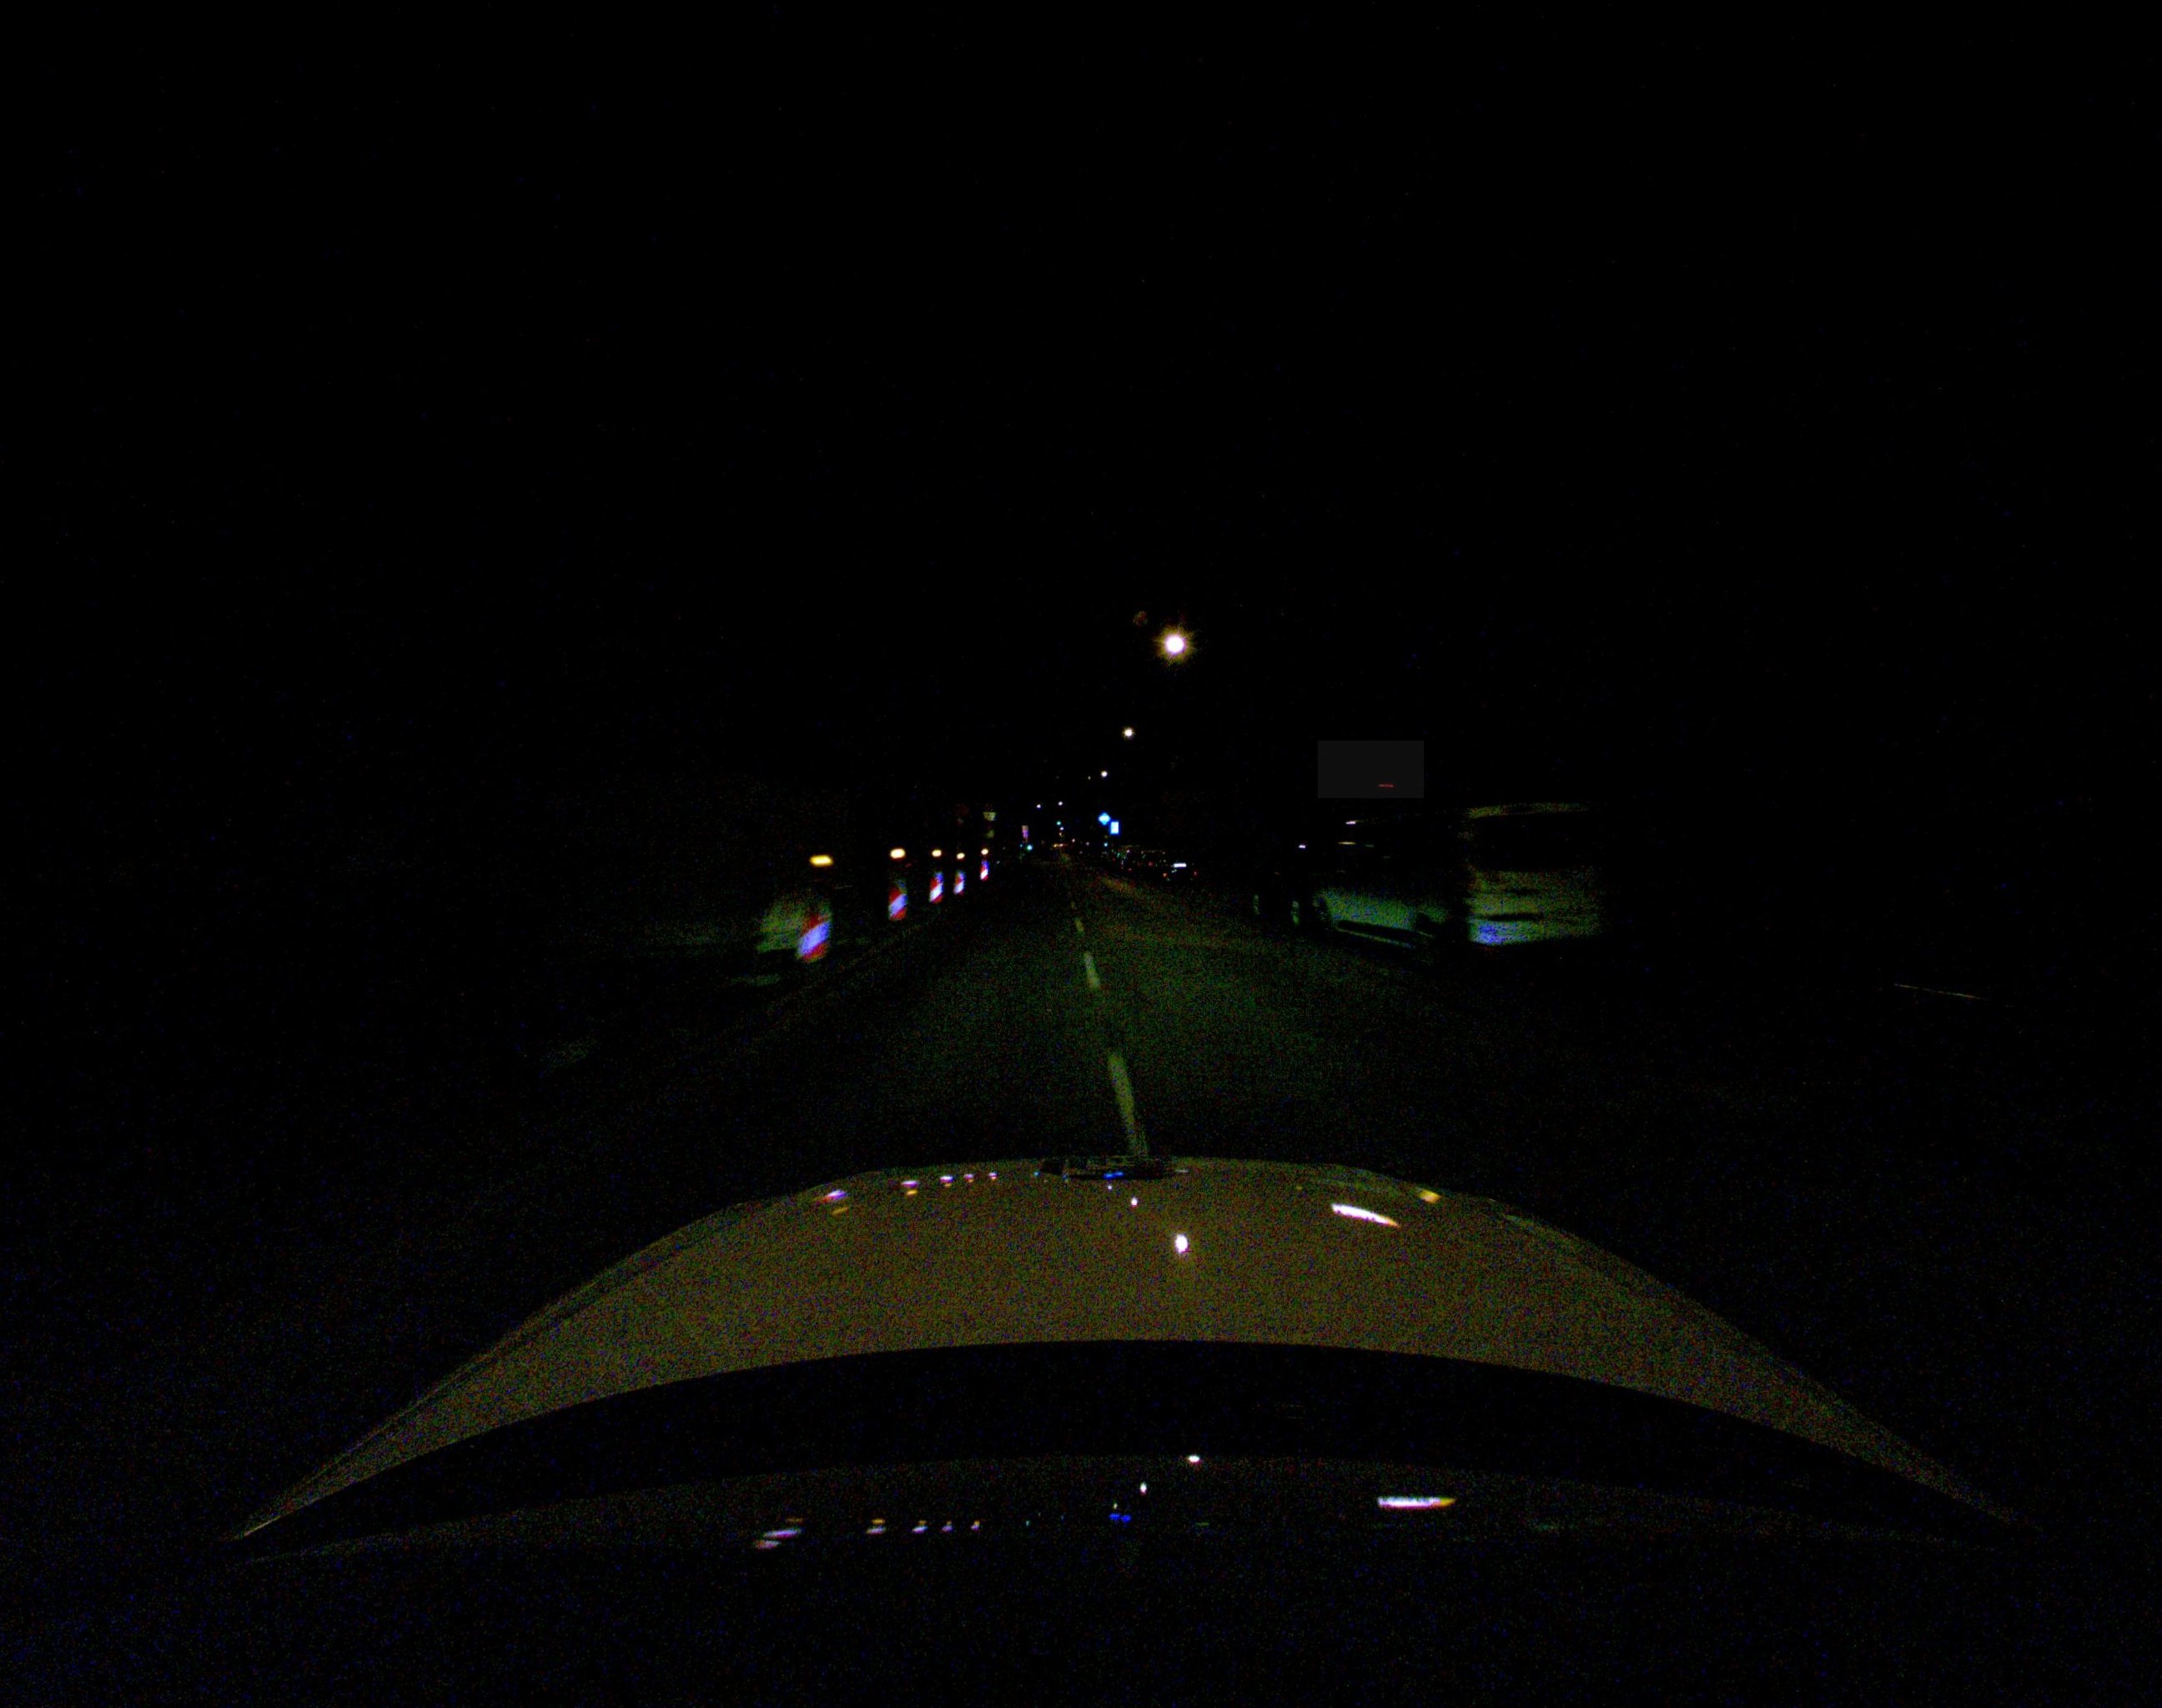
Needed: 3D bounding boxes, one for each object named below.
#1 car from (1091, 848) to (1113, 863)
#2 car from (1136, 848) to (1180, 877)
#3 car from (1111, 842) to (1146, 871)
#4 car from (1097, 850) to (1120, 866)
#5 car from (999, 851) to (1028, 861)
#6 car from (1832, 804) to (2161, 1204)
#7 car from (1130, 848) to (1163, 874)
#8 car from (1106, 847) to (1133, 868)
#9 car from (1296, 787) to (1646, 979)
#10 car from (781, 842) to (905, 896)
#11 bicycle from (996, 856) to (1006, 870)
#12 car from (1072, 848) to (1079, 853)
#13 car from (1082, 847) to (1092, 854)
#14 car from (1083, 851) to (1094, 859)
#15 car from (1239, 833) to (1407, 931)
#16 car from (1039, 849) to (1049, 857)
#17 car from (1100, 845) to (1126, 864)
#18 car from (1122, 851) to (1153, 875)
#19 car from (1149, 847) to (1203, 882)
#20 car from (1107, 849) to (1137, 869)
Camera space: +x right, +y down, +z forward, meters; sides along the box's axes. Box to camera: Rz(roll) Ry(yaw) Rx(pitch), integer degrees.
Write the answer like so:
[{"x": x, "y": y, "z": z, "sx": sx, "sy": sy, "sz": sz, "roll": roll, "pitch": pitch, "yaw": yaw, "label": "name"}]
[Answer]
[{"x": 2.134, "y": 0.113, "z": 85.089, "sx": 1.856, "sy": 1.489, "sz": 4.540, "roll": -1, "pitch": 0, "yaw": -4, "label": "car"}, {"x": 3.987, "y": 0.436, "z": 42.700, "sx": 1.774, "sy": 1.426, "sz": 3.888, "roll": -1, "pitch": 0, "yaw": -2, "label": "car"}, {"x": 3.355, "y": 0.139, "z": 58.048, "sx": 1.797, "sy": 1.875, "sz": 4.767, "roll": -3, "pitch": 1, "yaw": -4, "label": "car"}, {"x": 2.652, "y": 0.378, "z": 78.832, "sx": 1.771, "sy": 1.544, "sz": 4.540, "roll": -1, "pitch": 0, "yaw": -4, "label": "car"}, {"x": -10.616, "y": 0.329, "z": 127.863, "sx": 4.428, "sy": 1.449, "sz": 1.998, "roll": -1, "pitch": 0, "yaw": -3, "label": "car"}, {"x": 5.111, "y": 0.549, "z": 2.413, "sx": 1.740, "sy": 1.565, "sz": 4.207, "roll": -3, "pitch": 0, "yaw": -2, "label": "car"}, {"x": 3.794, "y": 0.394, "z": 47.786, "sx": 1.590, "sy": 1.467, "sz": 3.717, "roll": -1, "pitch": 0, "yaw": -1, "label": "car"}, {"x": 3.165, "y": 0.264, "z": 67.788, "sx": 1.819, "sy": 1.588, "sz": 4.624, "roll": -2, "pitch": 1, "yaw": -3, "label": "car"}, {"x": 4.850, "y": 0.307, "z": 11.300, "sx": 2.067, "sy": 1.928, "sz": 5.366, "roll": -3, "pitch": 0, "yaw": -2, "label": "car"}, {"x": -8.829, "y": 0.560, "z": 30.355, "sx": 3.961, "sy": 1.889, "sz": 1.915, "roll": -1, "pitch": 0, "yaw": 11, "label": "car"}, {"x": -6.379, "y": 0.727, "z": 64.978, "sx": 0.617, "sy": 1.051, "sz": 1.721, "roll": -1, "pitch": 0, "yaw": -1, "label": "bicycle"}, {"x": -1.741, "y": -1.070, "z": 248.645, "sx": 1.987, "sy": 1.520, "sz": 3.999, "roll": -1, "pitch": 0, "yaw": 0, "label": "car"}, {"x": 1.292, "y": -0.678, "z": 176.309, "sx": 1.987, "sy": 1.520, "sz": 3.999, "roll": -1, "pitch": 0, "yaw": 0, "label": "car"}, {"x": 1.407, "y": 0.126, "z": 152.983, "sx": 1.987, "sy": 1.516, "sz": 4.000, "roll": 0, "pitch": 1, "yaw": 0, "label": "car"}, {"x": 4.682, "y": 0.498, "z": 16.466, "sx": 1.816, "sy": 1.599, "sz": 4.214, "roll": -4, "pitch": 0, "yaw": -4, "label": "car"}, {"x": -7.699, "y": -0.227, "z": 171.215, "sx": 1.988, "sy": 1.502, "sz": 3.997, "roll": -1, "pitch": 0, "yaw": -2, "label": "car"}, {"x": 2.875, "y": 0.001, "z": 73.038, "sx": 1.820, "sy": 1.623, "sz": 4.452, "roll": -2, "pitch": 1, "yaw": -4, "label": "car"}, {"x": 3.590, "y": 0.538, "z": 52.314, "sx": 1.590, "sy": 1.467, "sz": 3.890, "roll": -1, "pitch": 0, "yaw": -1, "label": "car"}, {"x": 4.104, "y": 0.446, "z": 35.826, "sx": 1.773, "sy": 1.426, "sz": 4.479, "roll": -1, "pitch": 0, "yaw": -1, "label": "car"}, {"x": 3.124, "y": 0.342, "z": 62.791, "sx": 1.812, "sy": 1.427, "sz": 4.185, "roll": -3, "pitch": 1, "yaw": -2, "label": "car"}]
